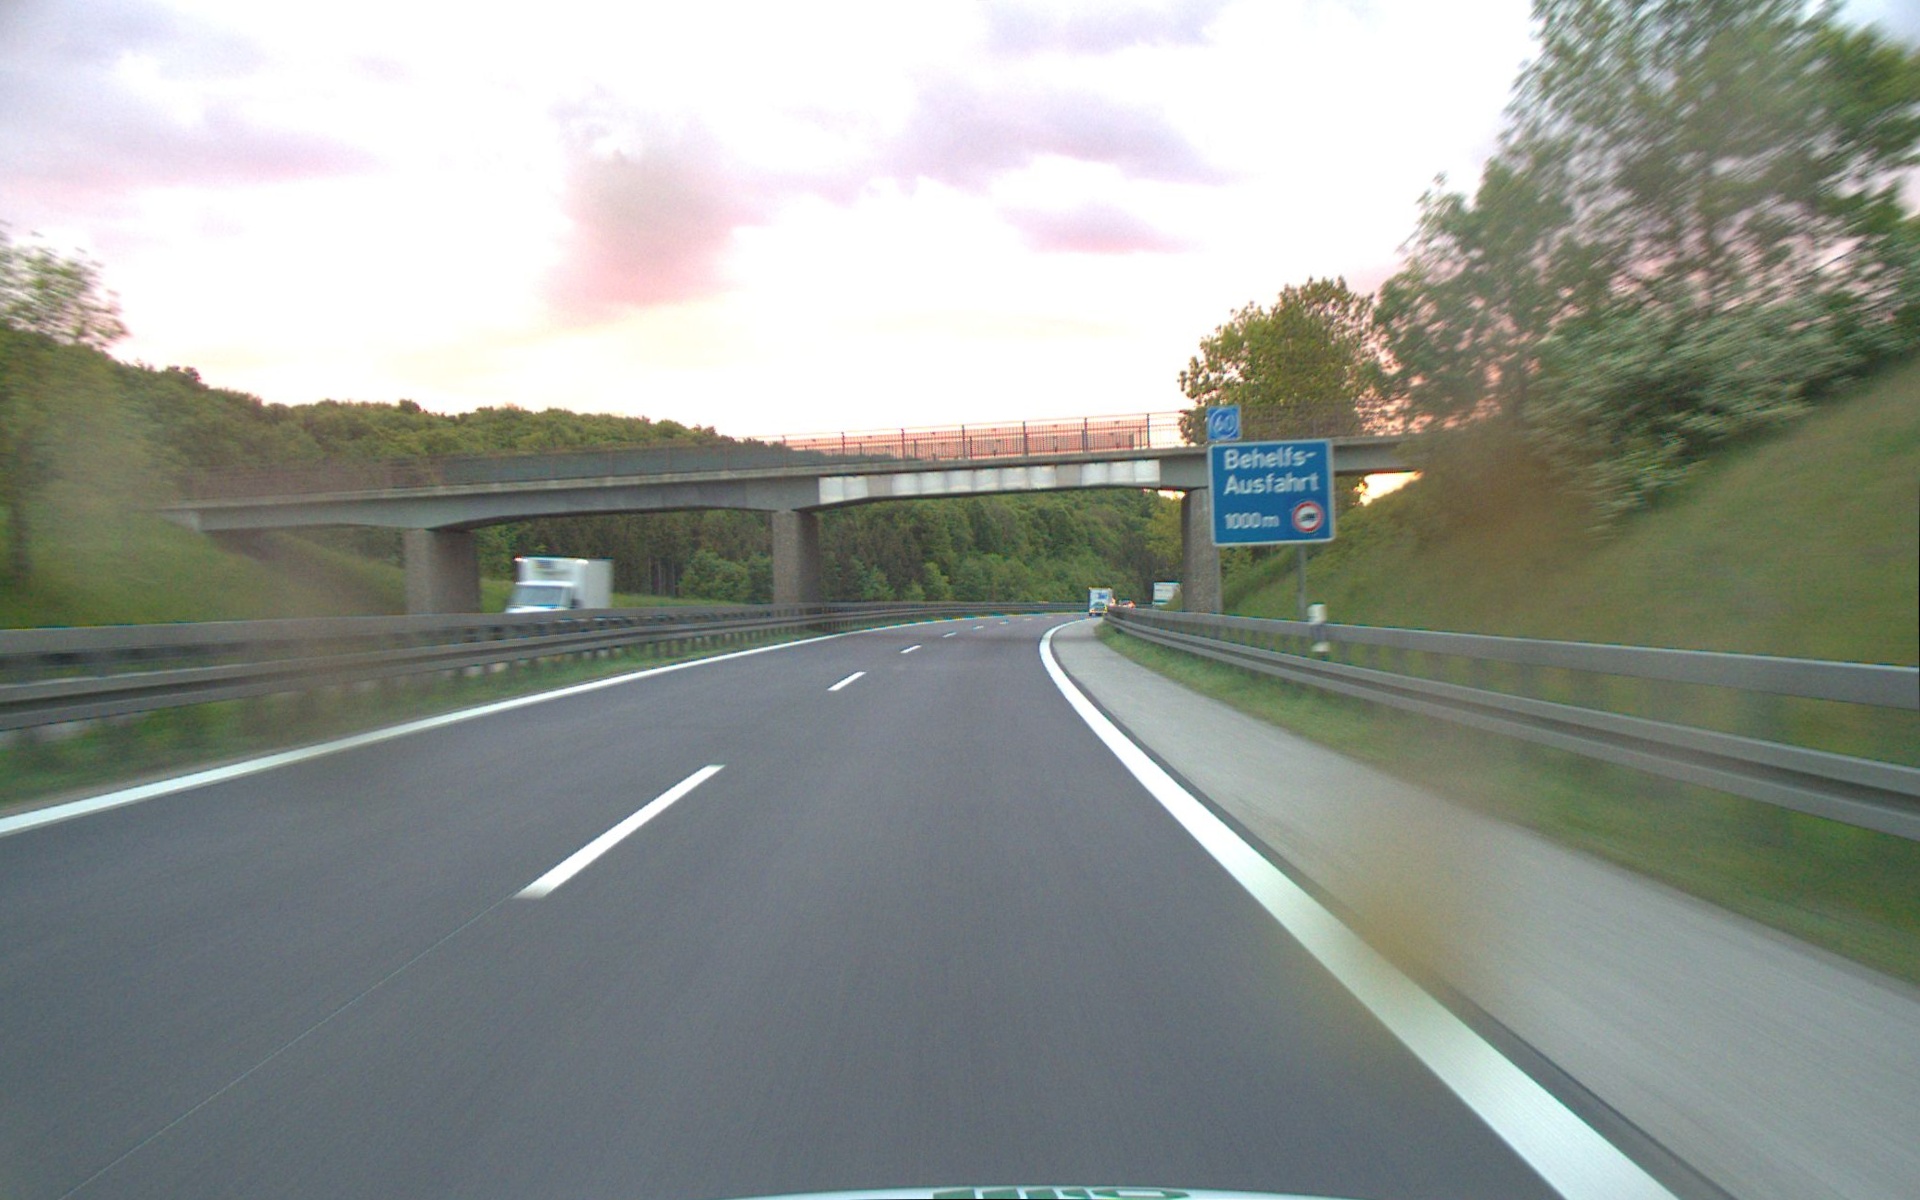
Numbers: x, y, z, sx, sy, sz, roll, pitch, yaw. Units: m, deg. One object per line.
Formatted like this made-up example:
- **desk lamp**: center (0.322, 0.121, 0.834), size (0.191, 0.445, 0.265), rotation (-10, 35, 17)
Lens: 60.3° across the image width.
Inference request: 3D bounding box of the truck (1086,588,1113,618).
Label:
- **truck**: center (13.473, 0.257, 159.633), size (2.227, 2.711, 5.241), rotation (-1, 1, 9)

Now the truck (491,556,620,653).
- **truck**: center (-14.130, 0.147, 58.312), size (2.557, 3.164, 6.671), rotation (1, 0, 3)

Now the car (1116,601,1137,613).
- **car**: center (21.492, 0.925, 213.109), size (1.951, 1.544, 4.002), rotation (0, 0, 16)

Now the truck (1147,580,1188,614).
- **truck**: center (27.962, -0.422, 221.898), size (3.873, 4.362, 14.335), rotation (-1, 0, 14)
